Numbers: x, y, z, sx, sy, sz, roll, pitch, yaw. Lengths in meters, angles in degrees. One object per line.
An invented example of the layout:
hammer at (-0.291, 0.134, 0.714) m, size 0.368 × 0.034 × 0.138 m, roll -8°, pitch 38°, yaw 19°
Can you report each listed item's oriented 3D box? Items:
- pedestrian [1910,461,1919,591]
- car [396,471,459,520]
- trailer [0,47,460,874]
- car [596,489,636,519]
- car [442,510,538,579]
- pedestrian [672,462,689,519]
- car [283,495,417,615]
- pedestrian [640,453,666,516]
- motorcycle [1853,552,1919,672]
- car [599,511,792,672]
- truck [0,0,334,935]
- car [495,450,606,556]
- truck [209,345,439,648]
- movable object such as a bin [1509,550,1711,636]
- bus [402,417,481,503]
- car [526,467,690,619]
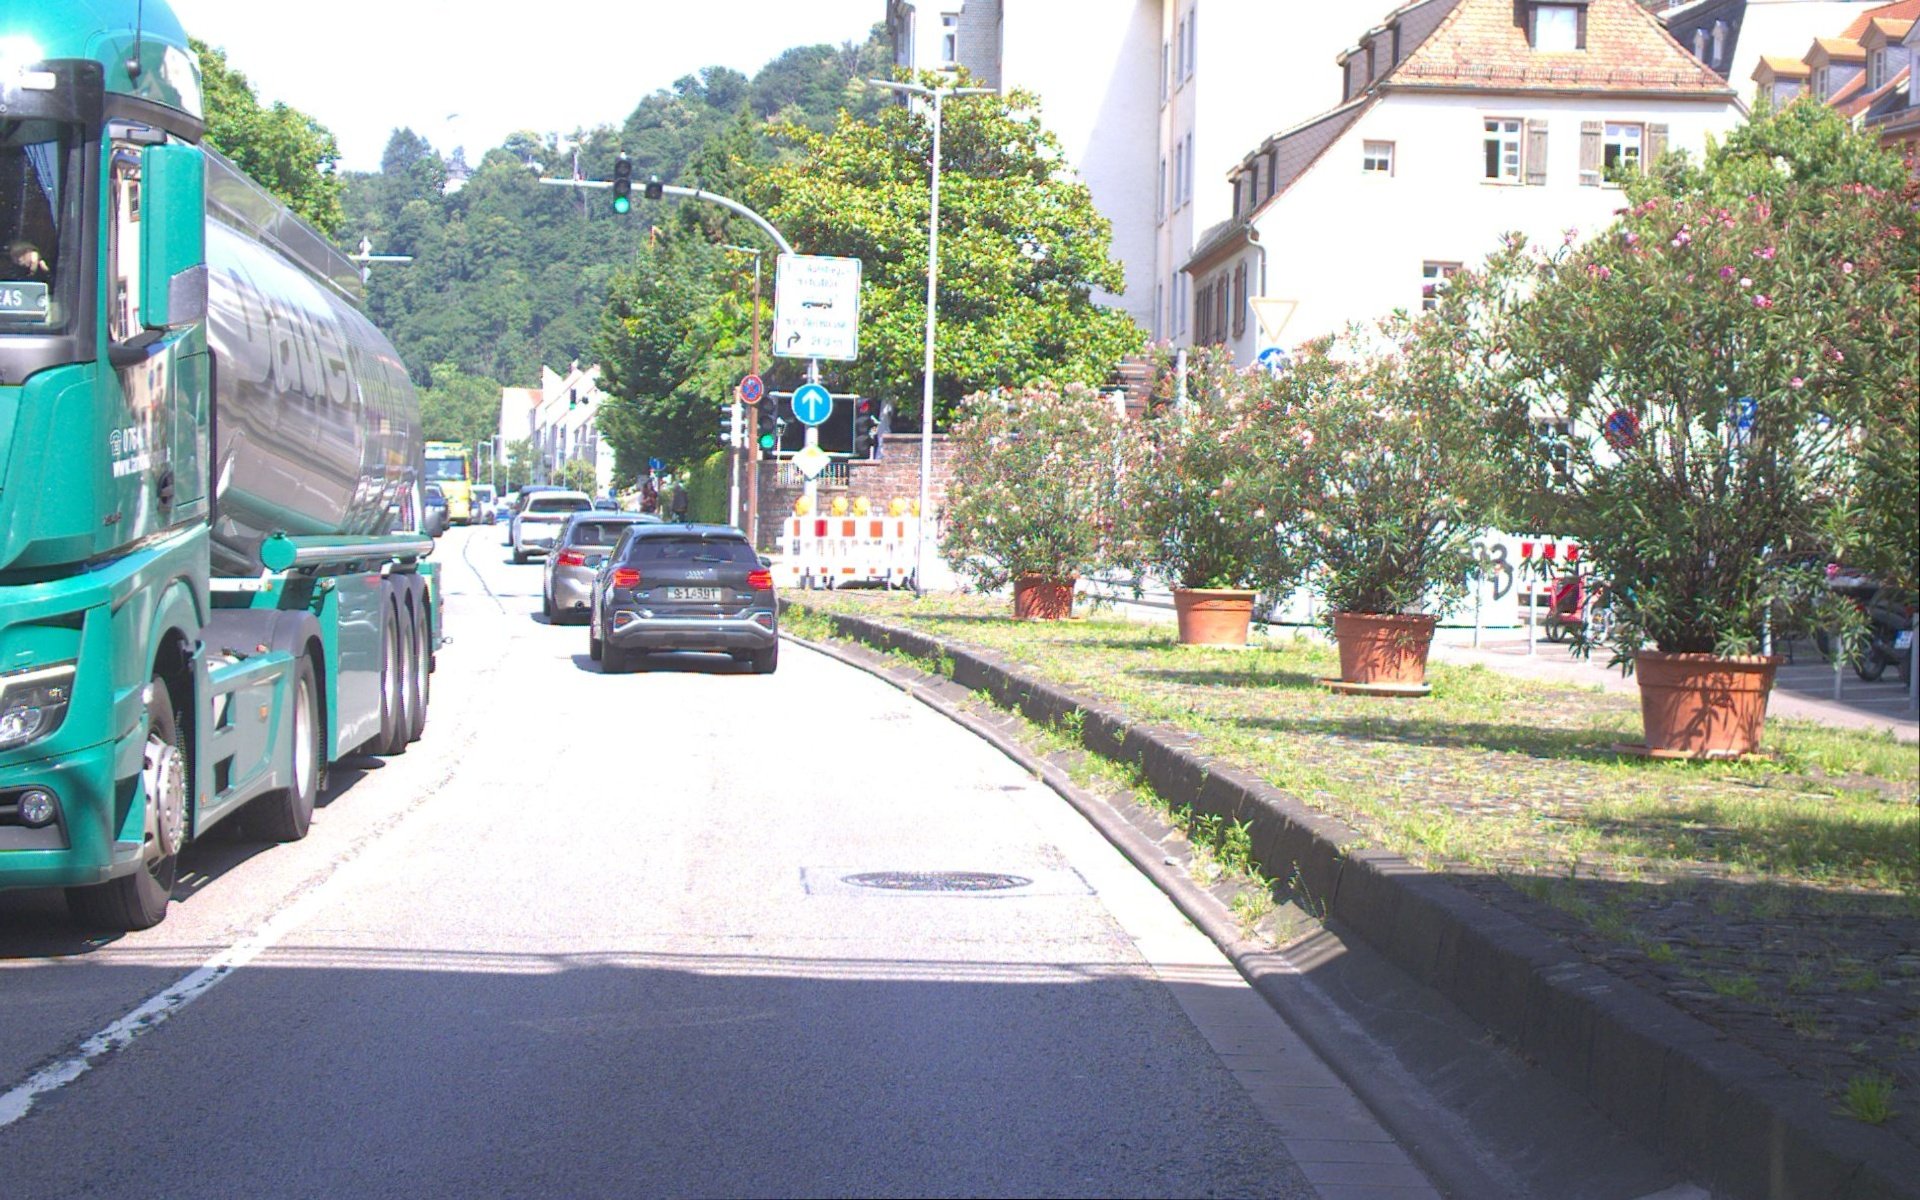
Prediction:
pedestrian at (13.730, -1.040, 48.411) m, size 0.494 × 1.816 × 0.619 m, roll 0°, pitch 0°, yaw -5°
car at (-16.032, -3.155, 103.360) m, size 1.808 × 1.401 × 4.358 m, roll 0°, pitch 2°, yaw -10°
trailer at (-4.759, -0.764, 20.845) m, size 2.523 × 3.631 × 11.533 m, roll 0°, pitch 2°, yaw -4°
car at (-18.000, -5.015, 179.657) m, size 1.993 × 1.448 × 4.009 m, roll 0°, pitch 0°, yaw -7°
car at (-11.886, -1.409, 86.752) m, size 1.993 × 1.656 × 4.001 m, roll 1°, pitch 1°, yaw -13°
pedestrian at (-7.854, -3.078, 96.630) m, size 0.455 × 1.600 × 0.579 m, roll 0°, pitch 1°, yaw -7°
car at (-9.017, -0.715, 51.060) m, size 1.862 × 1.675 × 4.456 m, roll 0°, pitch 2°, yaw -9°
pedestrian at (-8.581, -3.209, 95.975) m, size 0.680 × 1.736 × 0.913 m, roll 0°, pitch 1°, yaw -7°
motorcycle at (10.663, 0.119, 37.415) m, size 2.191 × 1.263 × 0.628 m, roll 0°, pitch 2°, yaw -39°
car at (-2.794, -0.133, 35.976) m, size 1.856 × 1.518 × 4.001 m, roll 1°, pitch 2°, yaw -5°
truck at (-4.429, -0.794, 14.968) m, size 2.523 × 3.735 × 6.247 m, roll -1°, pitch 2°, yaw -3°
car at (-8.451, -1.977, 70.727) m, size 1.993 × 2.007 × 4.001 m, roll 3°, pitch 0°, yaw -9°
truck at (-7.581, -1.272, 41.410) m, size 2.375 × 3.250 × 7.614 m, roll -2°, pitch 2°, yaw -9°
movable object such as a bin at (8.937, -0.115, 47.197) m, size 2.948 × 1.106 × 1.257 m, roll -1°, pitch 3°, yaw -45°
bus at (-18.118, -4.901, 120.449) m, size 2.596 × 2.886 × 8.450 m, roll 0°, pitch 2°, yaw -8°
car at (-4.919, -0.767, 47.602) m, size 1.993 × 2.007 × 4.001 m, roll 0°, pitch 0°, yaw -10°
